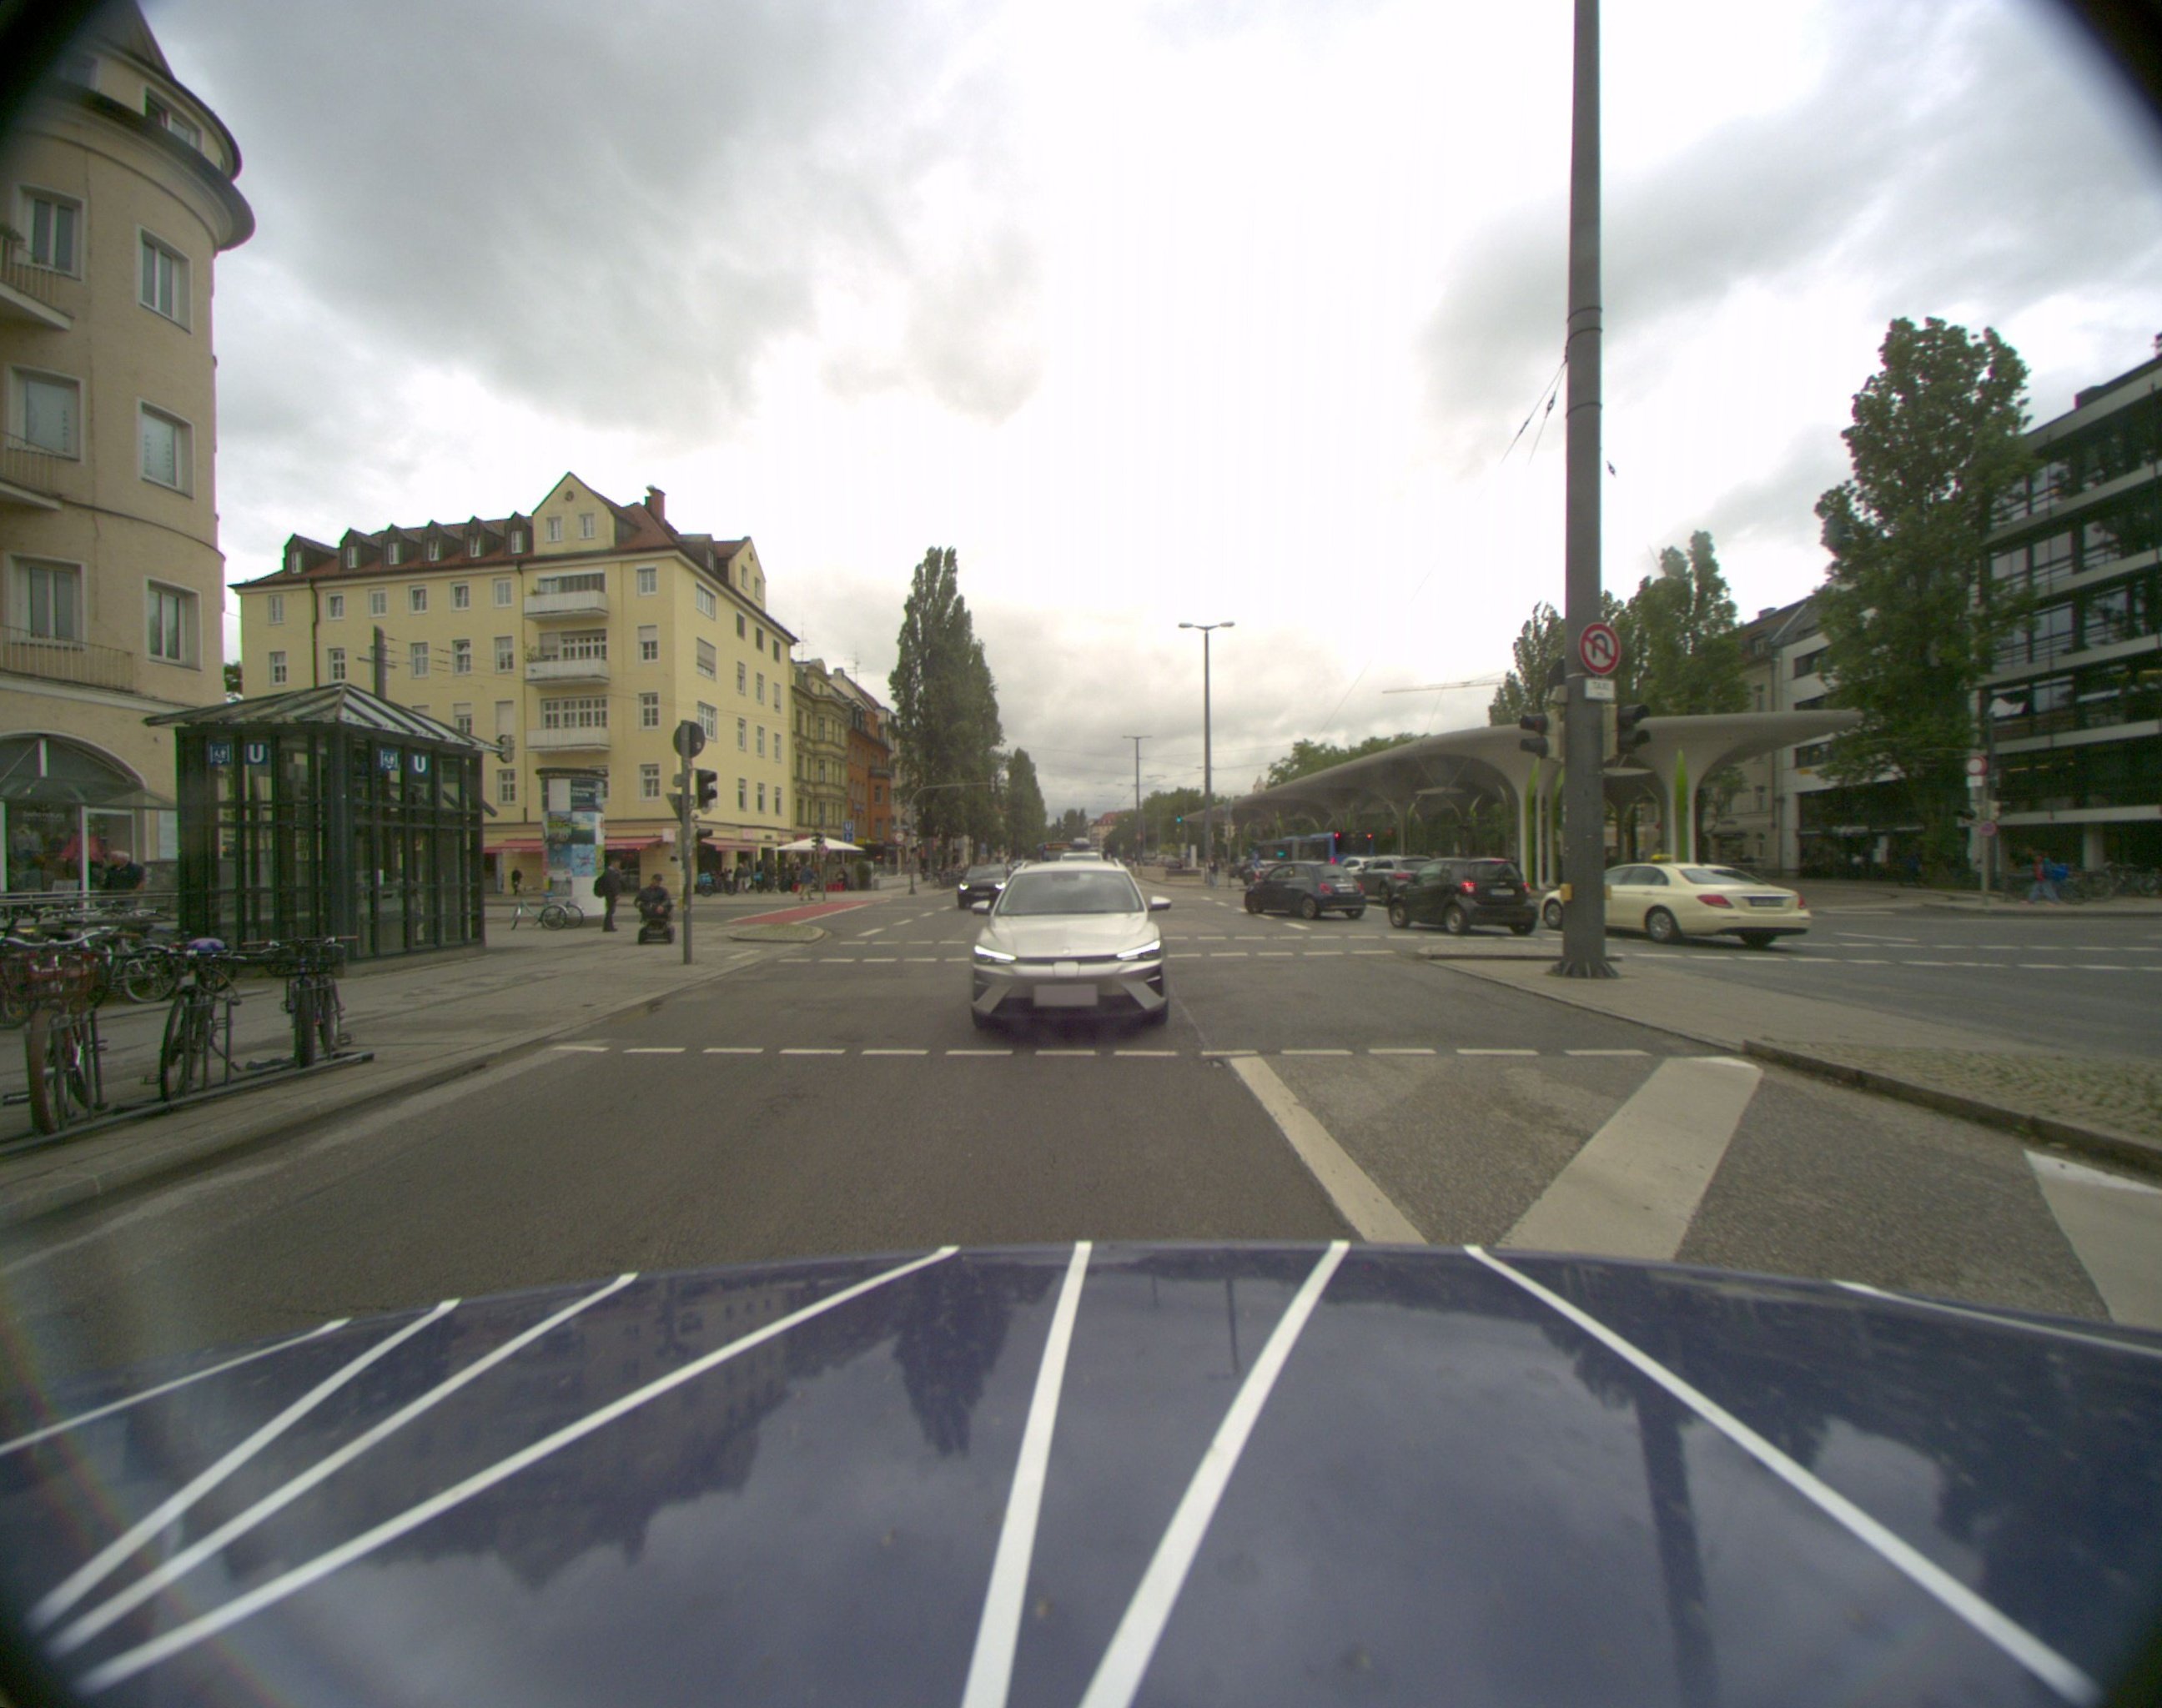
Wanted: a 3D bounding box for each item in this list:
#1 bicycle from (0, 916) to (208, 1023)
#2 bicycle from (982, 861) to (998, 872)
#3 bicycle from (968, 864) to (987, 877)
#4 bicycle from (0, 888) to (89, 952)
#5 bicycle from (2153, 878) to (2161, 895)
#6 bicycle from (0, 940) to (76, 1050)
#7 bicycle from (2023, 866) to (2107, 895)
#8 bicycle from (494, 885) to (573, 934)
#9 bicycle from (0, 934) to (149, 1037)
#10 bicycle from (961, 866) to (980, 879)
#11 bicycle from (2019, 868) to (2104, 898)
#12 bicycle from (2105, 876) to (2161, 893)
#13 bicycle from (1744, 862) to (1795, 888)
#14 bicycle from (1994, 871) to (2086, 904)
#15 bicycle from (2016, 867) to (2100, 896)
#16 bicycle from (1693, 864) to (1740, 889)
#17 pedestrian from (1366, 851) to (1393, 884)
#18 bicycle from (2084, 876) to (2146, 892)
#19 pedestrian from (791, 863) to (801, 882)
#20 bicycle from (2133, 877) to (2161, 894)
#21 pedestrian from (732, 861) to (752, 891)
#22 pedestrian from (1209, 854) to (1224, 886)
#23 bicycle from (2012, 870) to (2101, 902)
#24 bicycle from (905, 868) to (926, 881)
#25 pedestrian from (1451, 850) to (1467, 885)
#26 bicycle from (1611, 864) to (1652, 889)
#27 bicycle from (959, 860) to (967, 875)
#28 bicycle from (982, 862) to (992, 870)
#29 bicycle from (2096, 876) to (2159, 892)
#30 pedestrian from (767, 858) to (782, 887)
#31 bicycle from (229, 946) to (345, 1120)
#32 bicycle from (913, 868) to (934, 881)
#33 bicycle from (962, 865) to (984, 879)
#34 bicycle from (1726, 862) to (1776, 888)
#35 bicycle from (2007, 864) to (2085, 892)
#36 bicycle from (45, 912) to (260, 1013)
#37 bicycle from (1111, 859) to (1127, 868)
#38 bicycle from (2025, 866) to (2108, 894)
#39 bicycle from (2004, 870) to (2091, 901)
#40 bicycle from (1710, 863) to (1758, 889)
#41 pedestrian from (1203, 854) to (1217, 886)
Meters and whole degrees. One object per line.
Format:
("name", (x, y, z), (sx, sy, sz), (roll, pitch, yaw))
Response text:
("bicycle", (-10.845, 1.254, 8.359), (1.843, 1.088, 0.509), (0, 0, -2))
("bicycle", (-8.626, 1.162, 71.888), (1.837, 0.990, 0.376), (-3, -1, 42))
("bicycle", (-8.436, 1.373, 61.922), (1.837, 0.990, 0.326), (-2, -1, 37))
("bicycle", (-19.516, 1.208, 13.872), (0.496, 1.083, 1.865), (-1, 0, -6))
("bicycle", (41.239, 1.211, 28.320), (1.631, 0.629, 0.363), (0, 0, 15))
("bicycle", (-10.865, 1.333, 7.236), (1.843, 0.958, 0.509), (0, 0, -2))
("bicycle", (34.401, 0.920, 26.595), (1.726, 0.934, 0.456), (1, 2, 42))
("bicycle", (-13.357, 1.350, 18.553), (1.572, 1.153, 0.525), (0, -1, 3))
("bicycle", (-10.797, 1.330, 7.769), (1.843, 0.958, 0.509), (0, 0, -2))
("bicycle", (-8.431, 1.405, 57.941), (1.836, 0.990, 0.349), (0, 1, 40))
("bicycle", (33.359, 0.971, 25.884), (0.456, 0.934, 1.726), (-1, 2, -40))
("bicycle", (41.463, 1.202, 29.821), (1.631, 0.629, 0.363), (0, 0, 15))
("bicycle", (31.212, 0.922, 34.510), (0.654, 1.111, 2.184), (-1, 0, 10))
("bicycle", (30.123, 1.021, 23.913), (0.455, 0.934, 1.728), (-1, 1, -20))
("bicycle", (33.826, 0.948, 26.344), (1.726, 0.934, 0.456), (1, 2, 42))
("bicycle", (29.213, 1.021, 34.944), (0.654, 1.111, 2.184), (-1, 0, 10))
("pedestrian", (15.403, 0.691, 39.213), (0.975, 1.671, 0.839), (-1, 0, -28))
("bicycle", (41.658, 1.193, 30.627), (1.631, 0.629, 0.363), (0, 0, 15))
("pedestrian", (-19.504, 1.296, 52.002), (0.496, 1.282, 0.552), (-1, 1, 0))
("bicycle", (41.336, 1.207, 28.933), (1.631, 0.629, 0.363), (0, 0, 15))
("pedestrian", (-18.671, 1.220, 41.807), (0.712, 1.623, 0.786), (-1, 0, 0))
("pedestrian", (6.841, 0.819, 38.456), (0.488, 1.609, 0.556), (-1, 1, -35))
("bicycle", (31.969, 1.038, 24.940), (0.455, 0.934, 1.728), (-1, 1, -19))
("bicycle", (-14.290, 1.780, 65.413), (1.725, 1.039, 0.388), (-2, -1, 11))
("pedestrian", (18.863, 0.665, 37.940), (0.548, 1.710, 0.615), (-1, 1, 7))
("bicycle", (25.784, 1.033, 35.599), (0.642, 1.118, 2.167), (-1, 0, 9))
("bicycle", (-10.628, 1.228, 68.412), (0.424, 1.280, 1.778), (-1, 0, 1))
("bicycle", (-13.237, 1.703, 107.399), (0.445, 1.017, 1.842), (-1, 1, 26))
("bicycle", (41.584, 1.196, 30.205), (1.631, 0.629, 0.363), (0, 0, 15))
("pedestrian", (-18.596, 1.116, 46.141), (0.602, 1.729, 0.666), (-1, 1, 0))
("bicycle", (-6.169, 1.319, 5.958), (0.500, 1.022, 1.597), (-1, 0, -42))
("bicycle", (-13.369, 1.734, 64.558), (1.728, 1.039, 0.387), (-1, -1, -6))
("bicycle", (-8.482, 1.426, 59.460), (1.837, 1.106, 0.468), (0, 0, 32))
("bicycle", (30.517, 0.956, 34.656), (0.654, 1.111, 2.184), (-1, 0, 10))
("bicycle", (35.487, 0.868, 27.972), (1.726, 0.934, 0.456), (1, 2, 44))
("bicycle", (-10.868, 1.256, 8.926), (1.843, 1.088, 0.509), (0, 0, -2))
("bicycle", (5.026, 1.230, 99.779), (2.235, 1.143, 0.505), (-1, 0, -31))
("bicycle", (34.855, 0.898, 26.901), (1.726, 0.934, 0.456), (1, 2, 42))
("bicycle", (32.282, 1.023, 25.412), (0.455, 0.934, 1.727), (-1, 1, -21))
("bicycle", (29.871, 0.988, 34.806), (0.654, 1.111, 2.184), (-1, 0, 10))
("pedestrian", (6.598, 0.831, 38.786), (0.520, 1.609, 0.465), (0, 1, 44))
